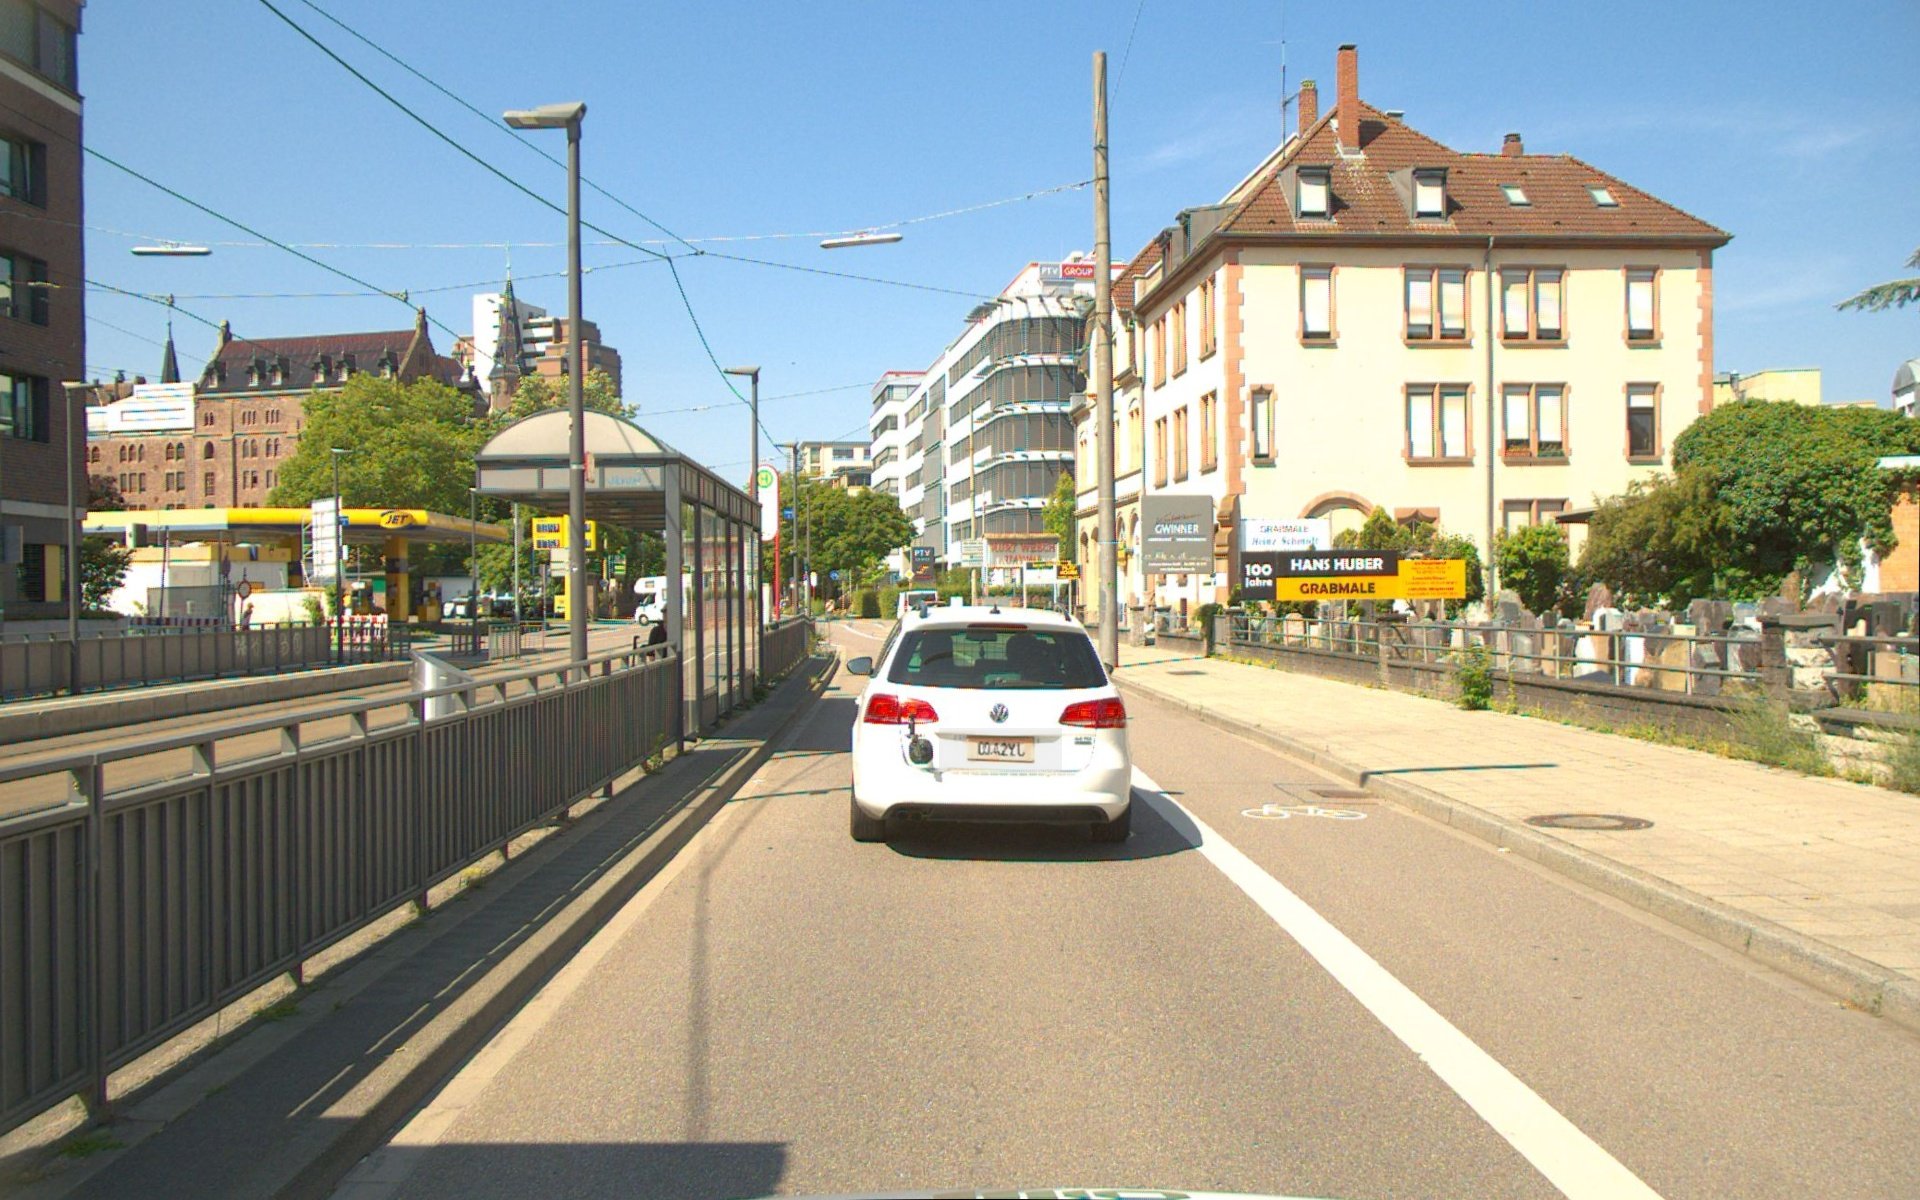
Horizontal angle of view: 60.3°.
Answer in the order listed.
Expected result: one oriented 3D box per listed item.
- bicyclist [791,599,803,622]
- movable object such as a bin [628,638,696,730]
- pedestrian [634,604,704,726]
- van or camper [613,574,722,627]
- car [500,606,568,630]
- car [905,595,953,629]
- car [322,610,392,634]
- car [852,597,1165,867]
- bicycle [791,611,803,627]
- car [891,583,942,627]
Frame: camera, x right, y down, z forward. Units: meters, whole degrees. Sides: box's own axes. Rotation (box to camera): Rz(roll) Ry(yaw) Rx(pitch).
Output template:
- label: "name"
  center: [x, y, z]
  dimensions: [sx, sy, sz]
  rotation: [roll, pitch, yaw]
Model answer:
- label: "bicyclist"
  center: [-11.918, 0.786, 120.991]
  dimensions: [0.771, 1.658, 0.737]
  rotation: [1, -1, -8]
- label: "movable object such as a bin"
  center: [-3.108, 0.868, 17.274]
  dimensions: [0.617, 0.916, 0.488]
  rotation: [-1, 0, -2]
- label: "pedestrian"
  center: [-3.136, 0.691, 17.869]
  dimensions: [0.616, 1.277, 0.709]
  rotation: [-1, 0, -2]
- label: "van or camper"
  center: [-18.210, 0.017, 102.877]
  dimensions: [6.570, 3.019, 2.610]
  rotation: [2, -1, 32]
- label: "car"
  center: [-30.554, 1.312, 118.761]
  dimensions: [1.910, 1.653, 4.562]
  rotation: [-1, 0, 35]
- label: "car"
  center: [-1.488, 0.562, 78.334]
  dimensions: [1.690, 1.468, 4.304]
  rotation: [-3, 0, -8]
- label: "car"
  center: [-40.395, 1.473, 110.833]
  dimensions: [4.070, 1.554, 1.938]
  rotation: [-1, -1, 17]
- label: "car"
  center: [0.183, 0.733, 11.379]
  dimensions: [1.718, 1.467, 4.410]
  rotation: [1, 0, -2]
- label: "bicycle"
  center: [-11.932, 1.395, 120.986]
  dimensions: [0.796, 1.097, 2.008]
  rotation: [0, 0, -8]
- label: "car"
  center: [-2.237, 0.242, 84.294]
  dimensions: [1.940, 2.090, 5.181]
  rotation: [-3, 0, -8]
